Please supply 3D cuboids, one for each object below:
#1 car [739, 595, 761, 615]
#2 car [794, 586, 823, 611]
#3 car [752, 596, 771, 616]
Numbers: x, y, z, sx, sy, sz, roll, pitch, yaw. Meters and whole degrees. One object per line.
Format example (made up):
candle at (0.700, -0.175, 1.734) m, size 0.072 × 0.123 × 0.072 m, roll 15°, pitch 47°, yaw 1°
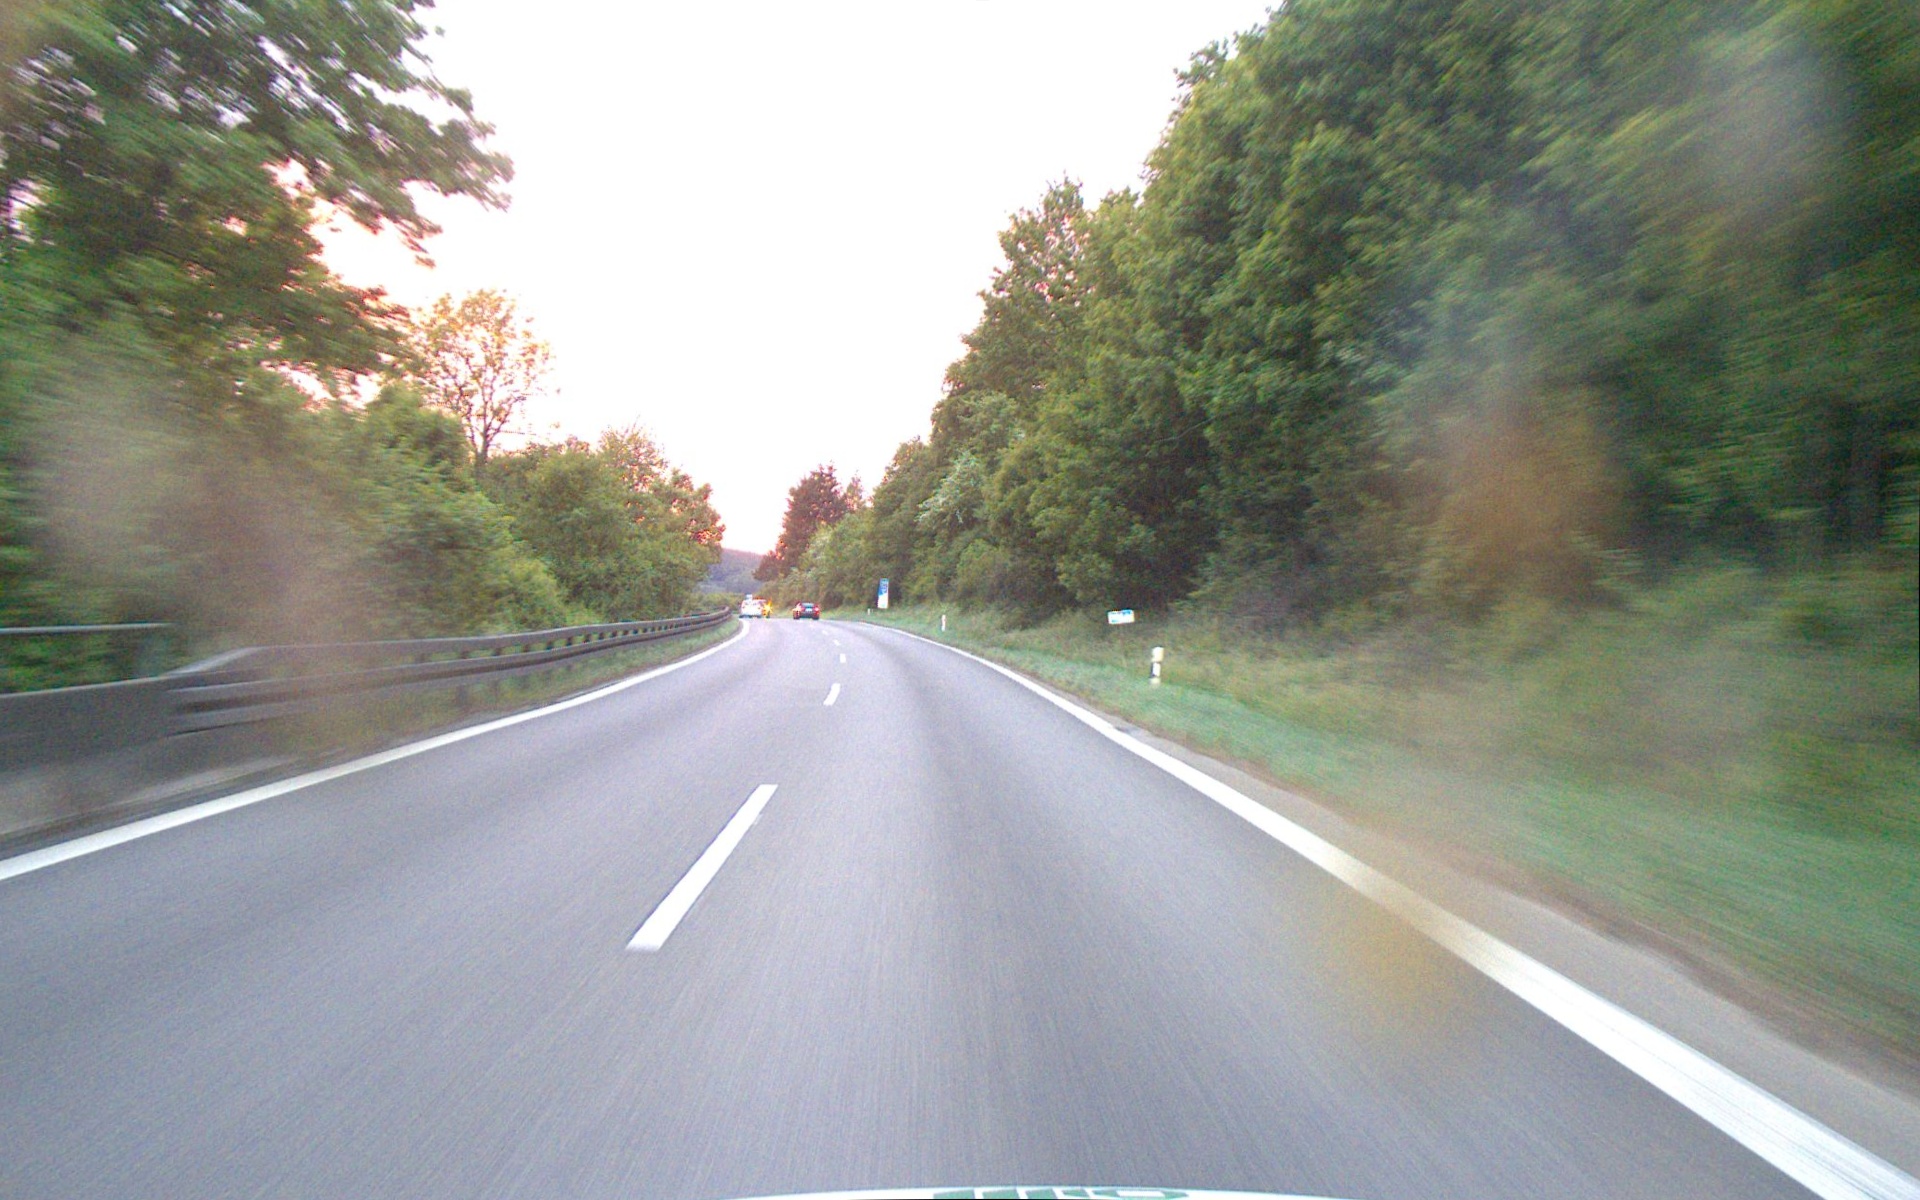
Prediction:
car at (-17.934, 0.449, 141.269) m, size 1.685 × 1.528 × 3.994 m, roll 2°, pitch -2°, yaw -6°
car at (-12.380, -0.126, 134.900) m, size 1.957 × 1.675 × 3.990 m, roll 4°, pitch -4°, yaw -10°
car at (-18.347, 0.574, 152.786) m, size 1.685 × 1.664 × 3.993 m, roll 2°, pitch -1°, yaw -7°
